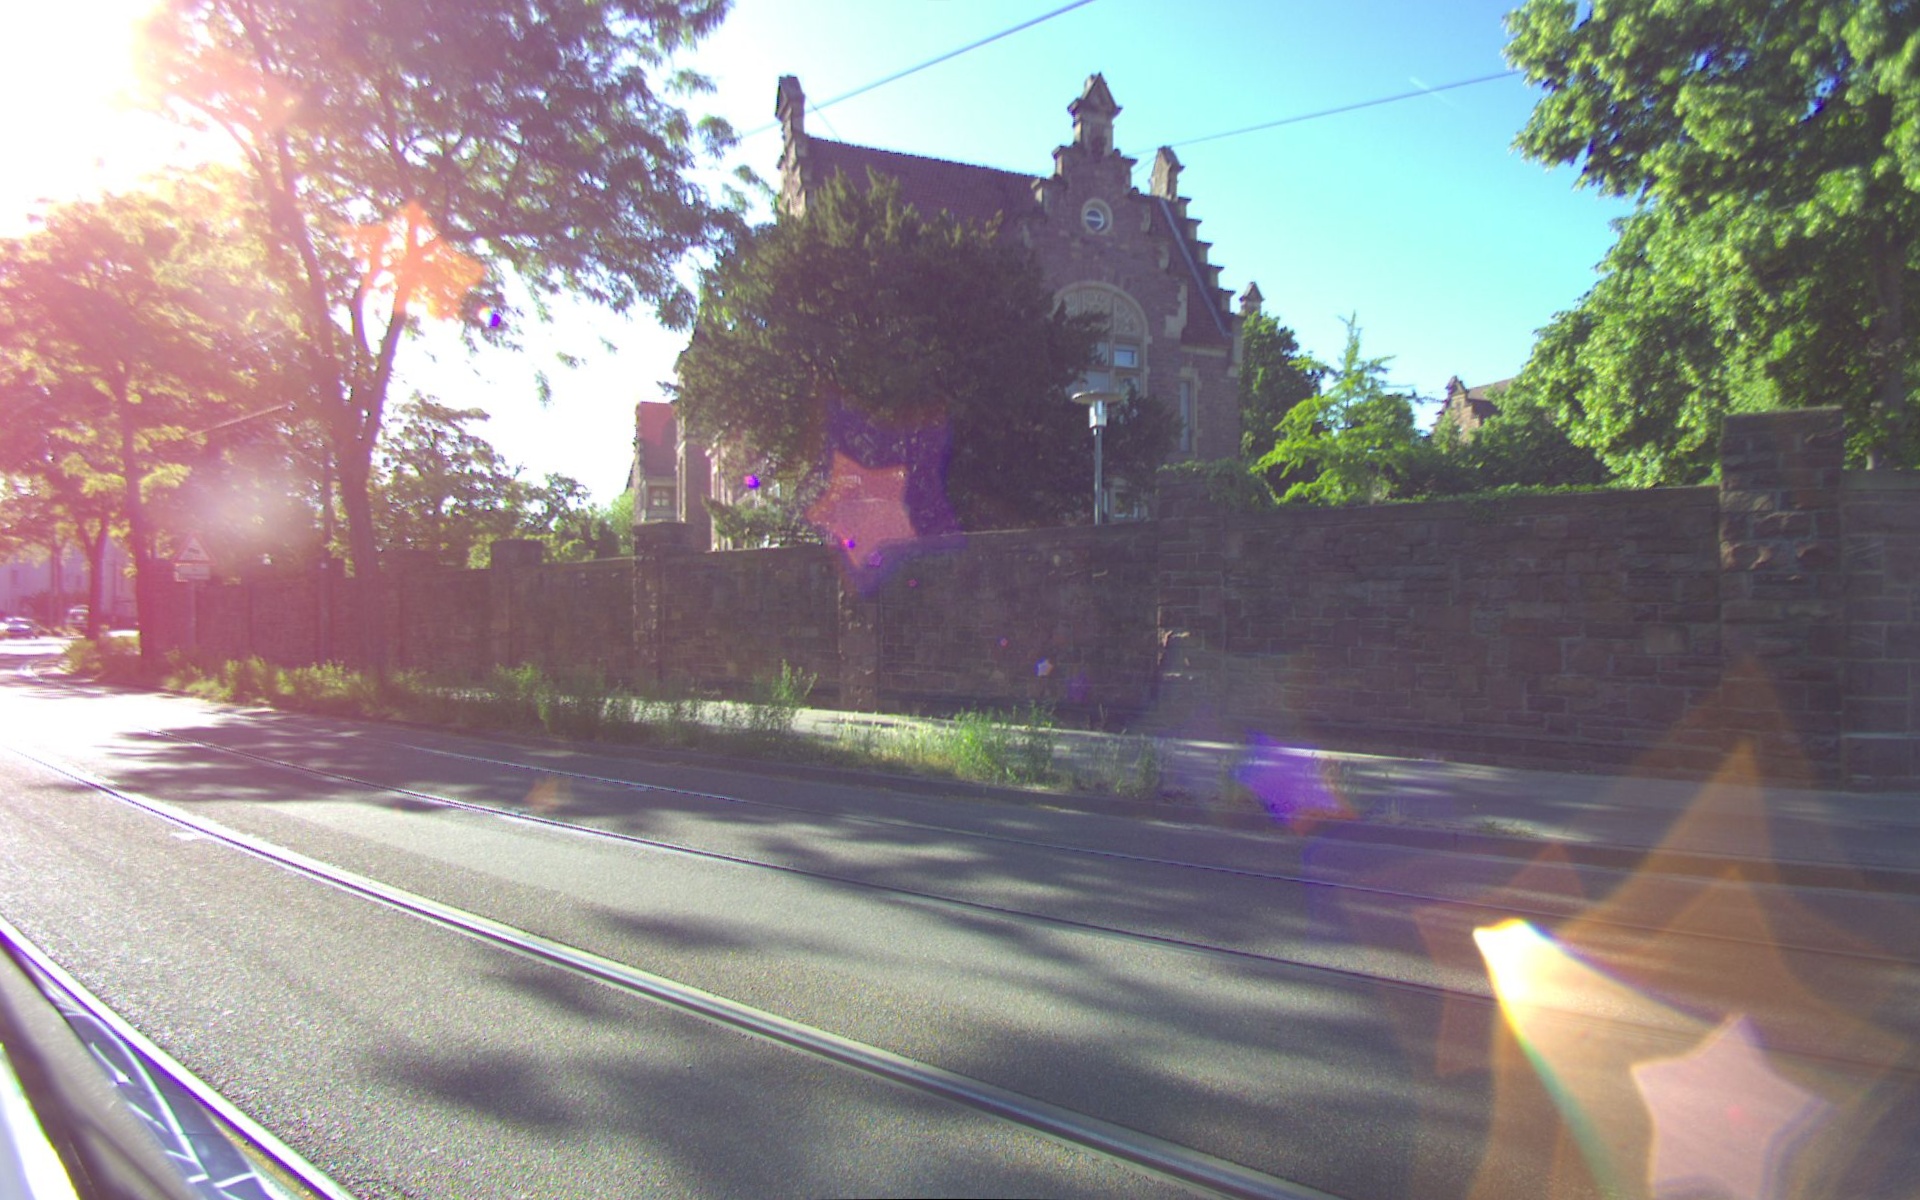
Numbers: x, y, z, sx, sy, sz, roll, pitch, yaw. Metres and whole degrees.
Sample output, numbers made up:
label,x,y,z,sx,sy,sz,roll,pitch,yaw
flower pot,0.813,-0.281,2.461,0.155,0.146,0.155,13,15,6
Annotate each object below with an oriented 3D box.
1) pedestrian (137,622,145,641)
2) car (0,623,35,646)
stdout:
label,x,y,z,sx,sy,sz,roll,pitch,yaw
pedestrian,-81.587,3.107,100.833,0.516,1.847,0.588,0,-1,-34
car,-68.890,2.509,73.842,1.969,1.560,4.005,0,-1,-41
